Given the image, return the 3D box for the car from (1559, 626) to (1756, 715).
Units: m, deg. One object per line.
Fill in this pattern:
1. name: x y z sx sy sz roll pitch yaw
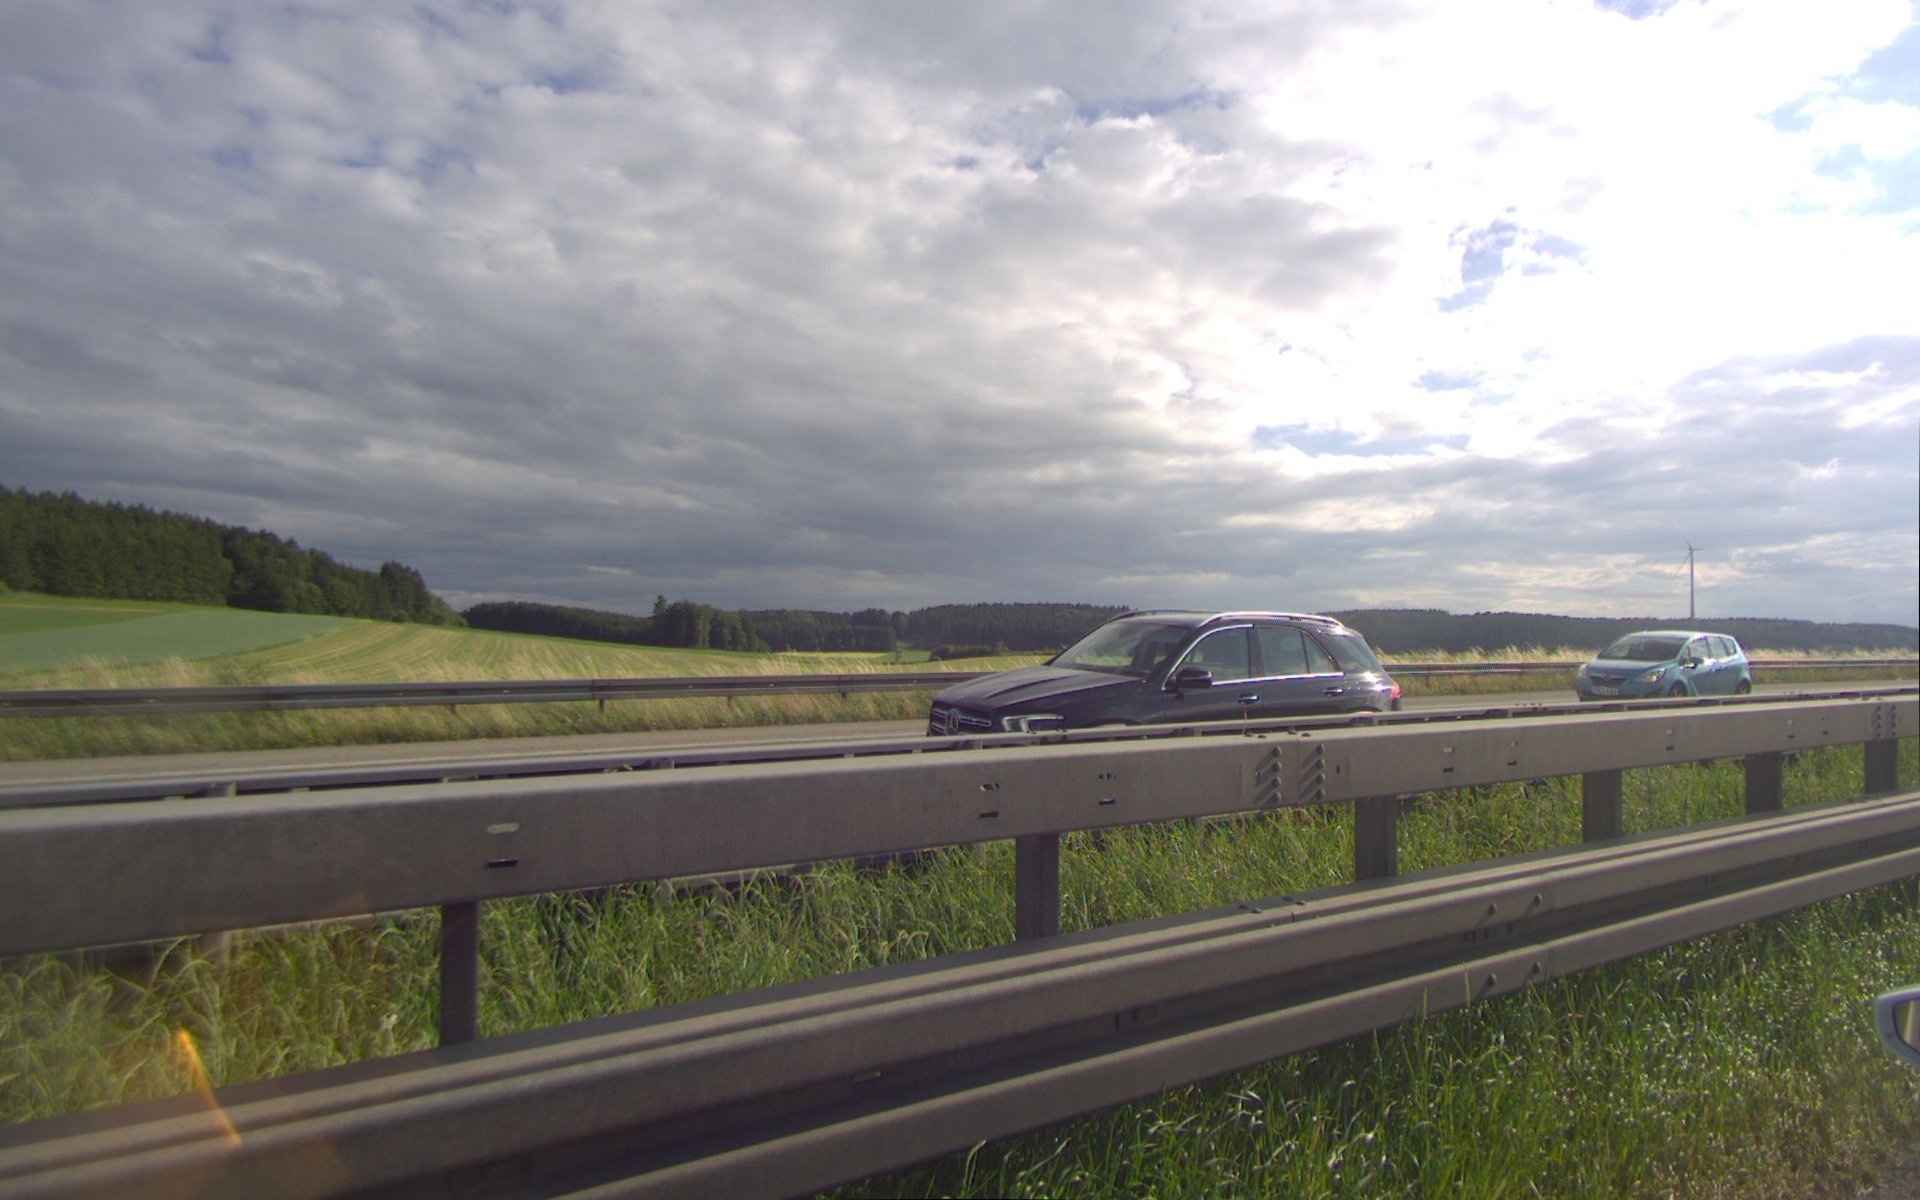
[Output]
1. car: 14.190 1.380 20.388 4.069 1.609 1.726 2 -1 -30

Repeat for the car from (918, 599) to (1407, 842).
1. car: 1.949 0.954 9.293 4.312 1.793 1.814 2 -1 -30
